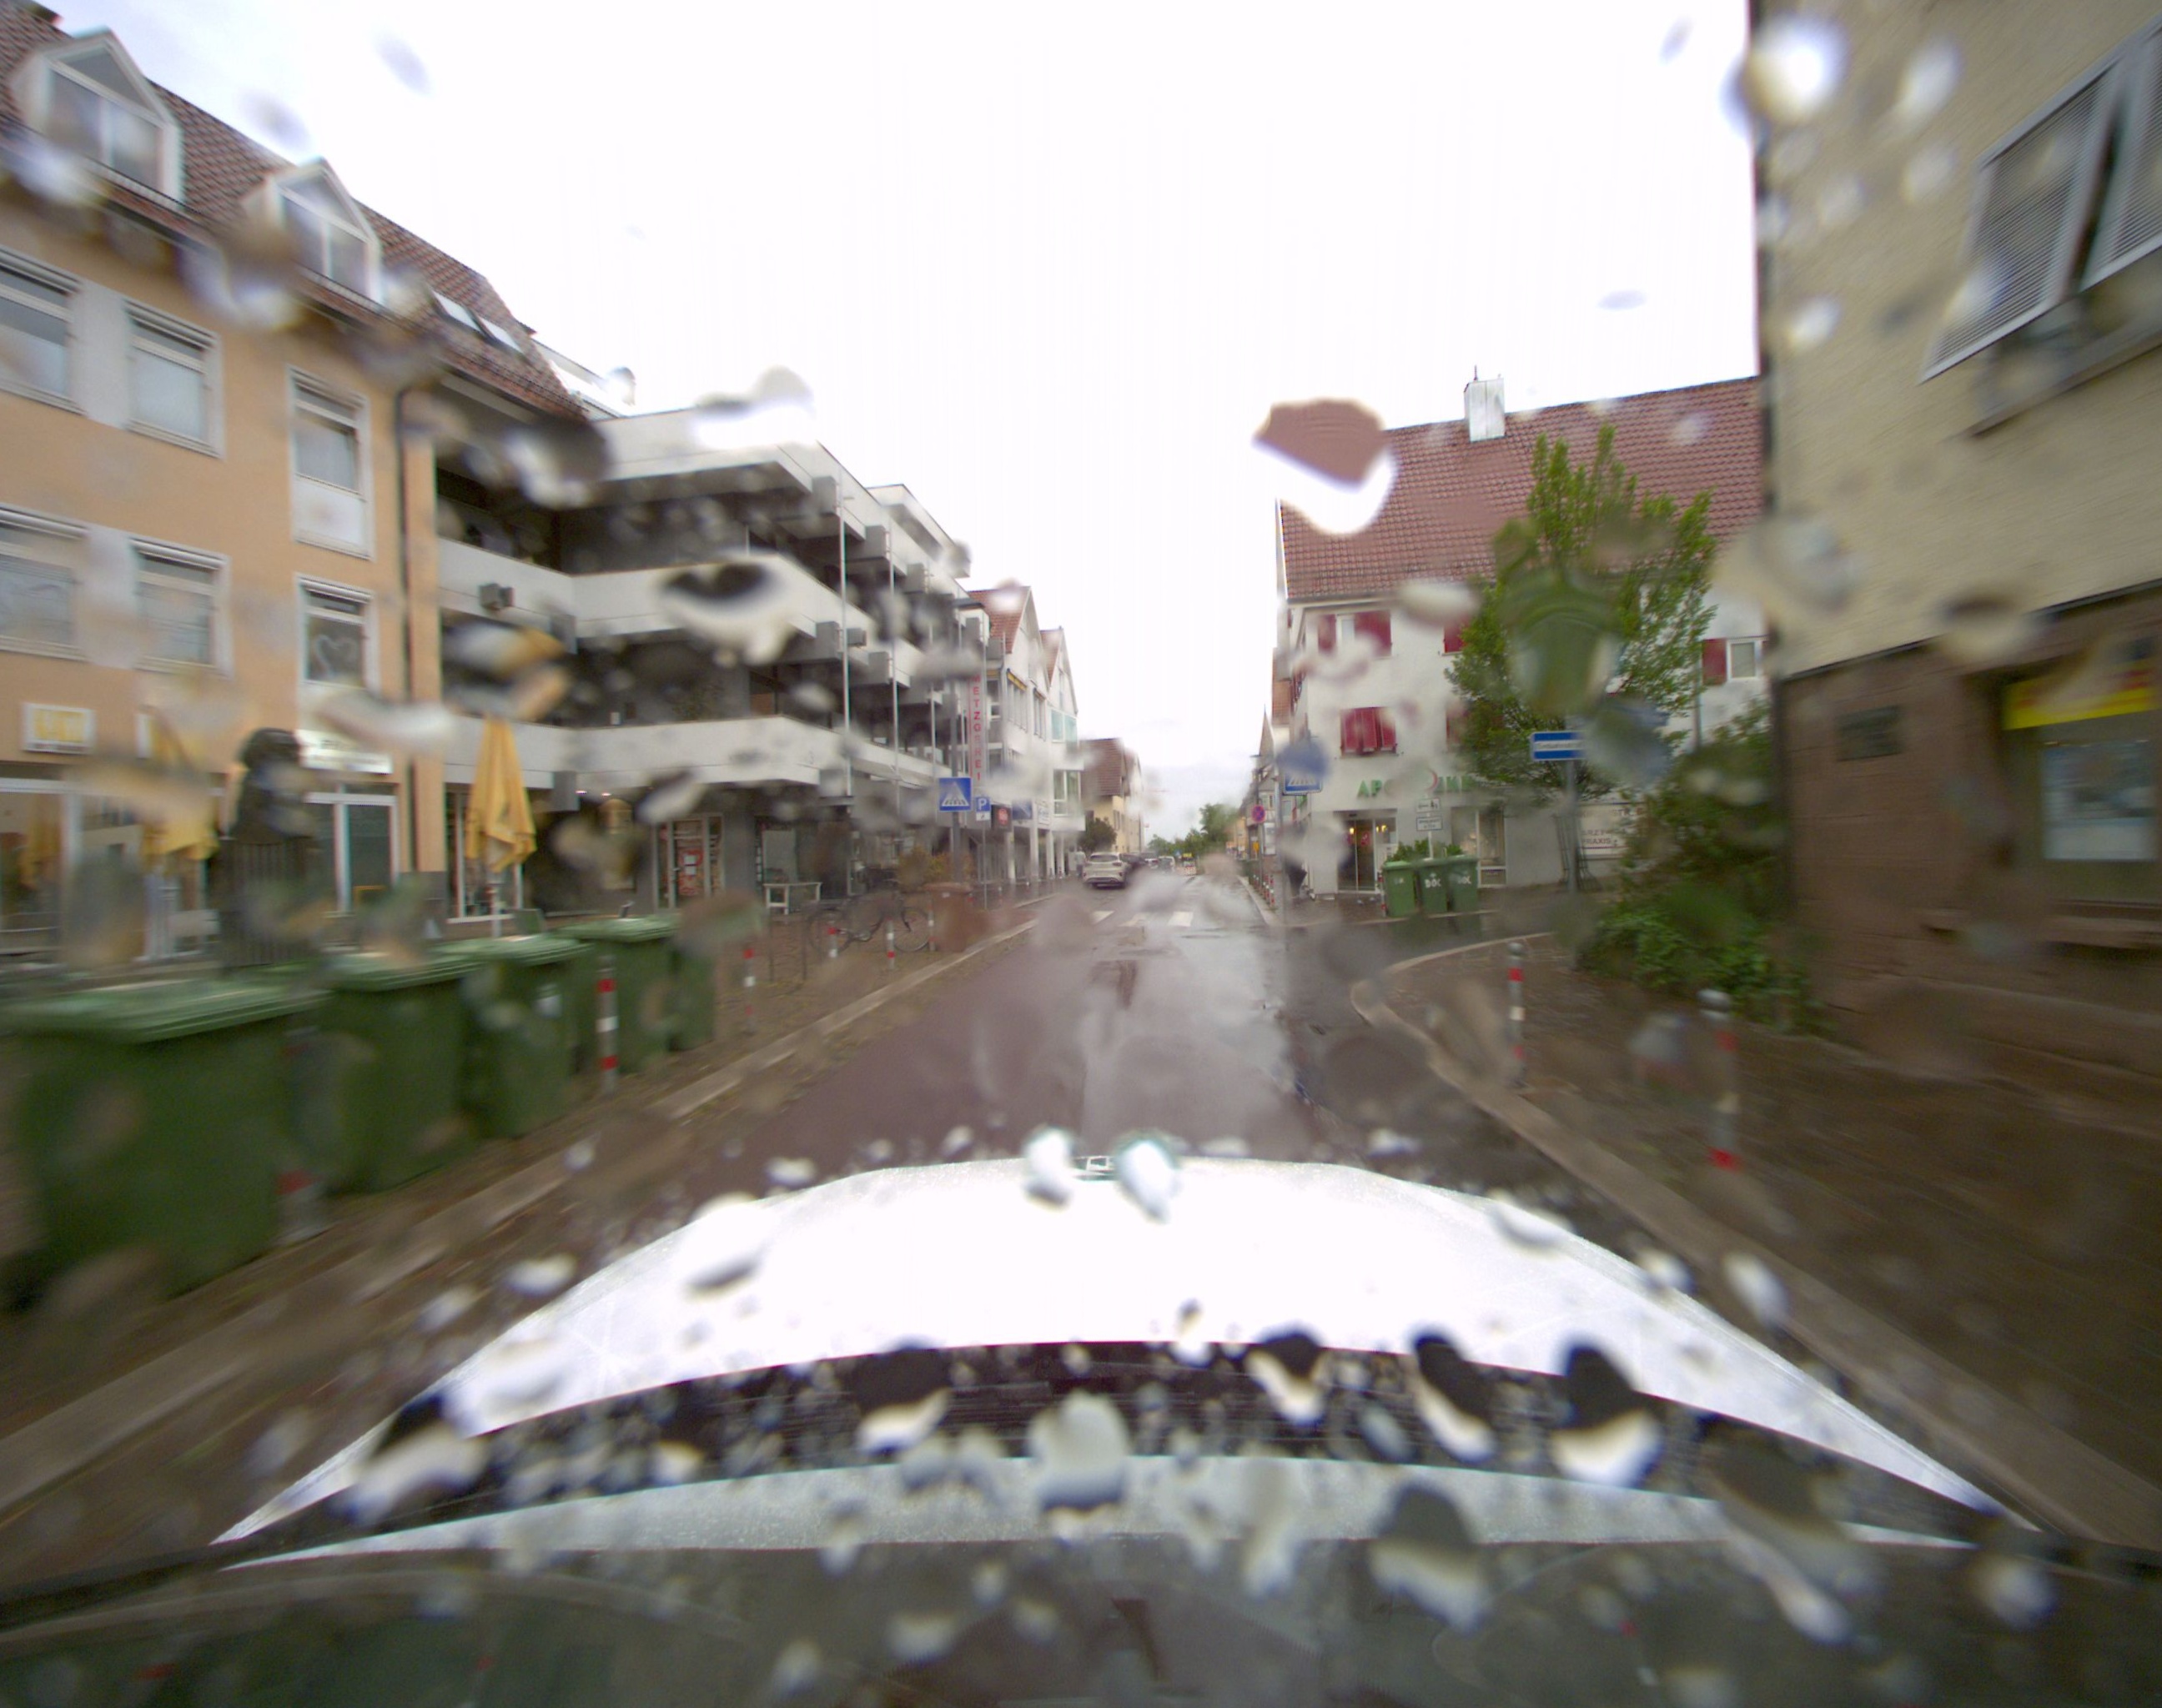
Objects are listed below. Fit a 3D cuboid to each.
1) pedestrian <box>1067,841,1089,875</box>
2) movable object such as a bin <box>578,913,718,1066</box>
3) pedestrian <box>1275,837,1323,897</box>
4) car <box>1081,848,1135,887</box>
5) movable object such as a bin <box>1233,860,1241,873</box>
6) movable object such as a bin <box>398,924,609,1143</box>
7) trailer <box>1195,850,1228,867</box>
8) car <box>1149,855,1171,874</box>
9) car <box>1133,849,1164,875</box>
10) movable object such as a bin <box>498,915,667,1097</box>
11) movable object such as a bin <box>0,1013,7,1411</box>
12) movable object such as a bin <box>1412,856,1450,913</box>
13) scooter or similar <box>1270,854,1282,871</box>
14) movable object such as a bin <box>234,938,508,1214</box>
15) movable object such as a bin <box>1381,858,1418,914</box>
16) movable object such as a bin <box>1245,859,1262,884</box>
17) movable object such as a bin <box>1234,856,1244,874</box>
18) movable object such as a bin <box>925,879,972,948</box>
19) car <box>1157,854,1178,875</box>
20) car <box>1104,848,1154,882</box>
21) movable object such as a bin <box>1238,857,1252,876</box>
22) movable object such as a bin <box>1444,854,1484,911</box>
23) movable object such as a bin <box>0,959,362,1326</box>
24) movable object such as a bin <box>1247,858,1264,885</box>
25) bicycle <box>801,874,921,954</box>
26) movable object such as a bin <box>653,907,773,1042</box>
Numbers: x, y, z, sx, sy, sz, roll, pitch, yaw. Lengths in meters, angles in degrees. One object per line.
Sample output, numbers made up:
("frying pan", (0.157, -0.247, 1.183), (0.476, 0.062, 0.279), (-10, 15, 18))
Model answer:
("pedestrian", (-0.149, 0.227, 44.510), (1.029, 1.806, 1.119), (-1, -1, 9))
("movable object such as a bin", (-3.258, 0.997, 6.182), (0.684, 1.042, 0.669), (-1, 0, 1))
("pedestrian", (6.527, 0.391, 24.473), (1.171, 1.697, 1.180), (-3, -1, 7))
("car", (1.220, 0.545, 34.899), (1.781, 1.551, 4.011), (0, 1, 9))
("movable object such as a bin", (13.367, 1.068, 69.813), (0.633, 1.147, 0.606), (-2, -2, 14))
("movable object such as a bin", (-3.210, 0.965, 4.585), (0.684, 1.074, 0.669), (-1, 0, 1))
("trailer", (23.706, 0.775, 148.498), (5.754, 2.948, 2.002), (-1, -2, 4))
("car", (6.471, 0.874, 66.277), (1.672, 1.389, 3.831), (-1, -2, 6))
("car", (4.461, 0.540, 53.394), (1.770, 1.569, 4.417), (-2, -2, 8))
("movable object such as a bin", (-3.294, 0.979, 5.435), (0.684, 1.076, 0.669), (-1, 0, 1))
("movable object such as a bin", (-3.305, 0.984, 1.905), (0.684, 1.081, 0.669), (-1, 0, 1))
("movable object such as a bin", (6.768, 0.589, 15.766), (0.497, 1.056, 0.550), (-4, -2, 9))
("scooter or similar", (13.144, 0.576, 54.831), (0.660, 1.146, 1.452), (-2, -2, 16))
("movable object such as a bin", (-3.301, 0.993, 3.850), (0.684, 1.105, 0.669), (-1, 0, 1))
("movable object such as a bin", (6.199, 0.623, 15.861), (0.497, 1.056, 0.550), (-4, -2, 9))
("movable object such as a bin", (7.518, 0.750, 35.535), (0.672, 1.084, 0.700), (-2, -1, 11))
("movable object such as a bin", (11.464, 0.822, 59.061), (0.633, 1.290, 0.634), (-2, -2, 14))
("movable object such as a bin", (-2.057, 0.915, 12.729), (0.686, 1.020, 0.630), (-1, 0, -8))
("car", (7.688, 0.965, 72.191), (1.714, 1.825, 4.437), (-1, -2, 7))
("car", (2.449, 0.524, 40.814), (1.819, 1.498, 4.778), (-3, 0, 11))
("movable object such as a bin", (10.114, 0.787, 50.218), (0.799, 1.131, 0.864), (-2, -2, 8))
("movable object such as a bin", (7.347, 0.543, 15.657), (0.497, 1.056, 0.550), (-4, -2, 9))
("movable object such as a bin", (-3.310, 0.992, 3.012), (0.684, 1.105, 0.669), (-1, 0, 1))
("movable object such as a bin", (7.454, 0.742, 34.759), (0.672, 1.086, 0.720), (-2, -1, 11))
("bicycle", (-3.369, 0.911, 12.575), (1.746, 1.164, 0.443), (-1, -2, -11))
("movable object such as a bin", (-3.103, 0.996, 6.921), (0.684, 1.039, 0.669), (-1, 0, 1))
